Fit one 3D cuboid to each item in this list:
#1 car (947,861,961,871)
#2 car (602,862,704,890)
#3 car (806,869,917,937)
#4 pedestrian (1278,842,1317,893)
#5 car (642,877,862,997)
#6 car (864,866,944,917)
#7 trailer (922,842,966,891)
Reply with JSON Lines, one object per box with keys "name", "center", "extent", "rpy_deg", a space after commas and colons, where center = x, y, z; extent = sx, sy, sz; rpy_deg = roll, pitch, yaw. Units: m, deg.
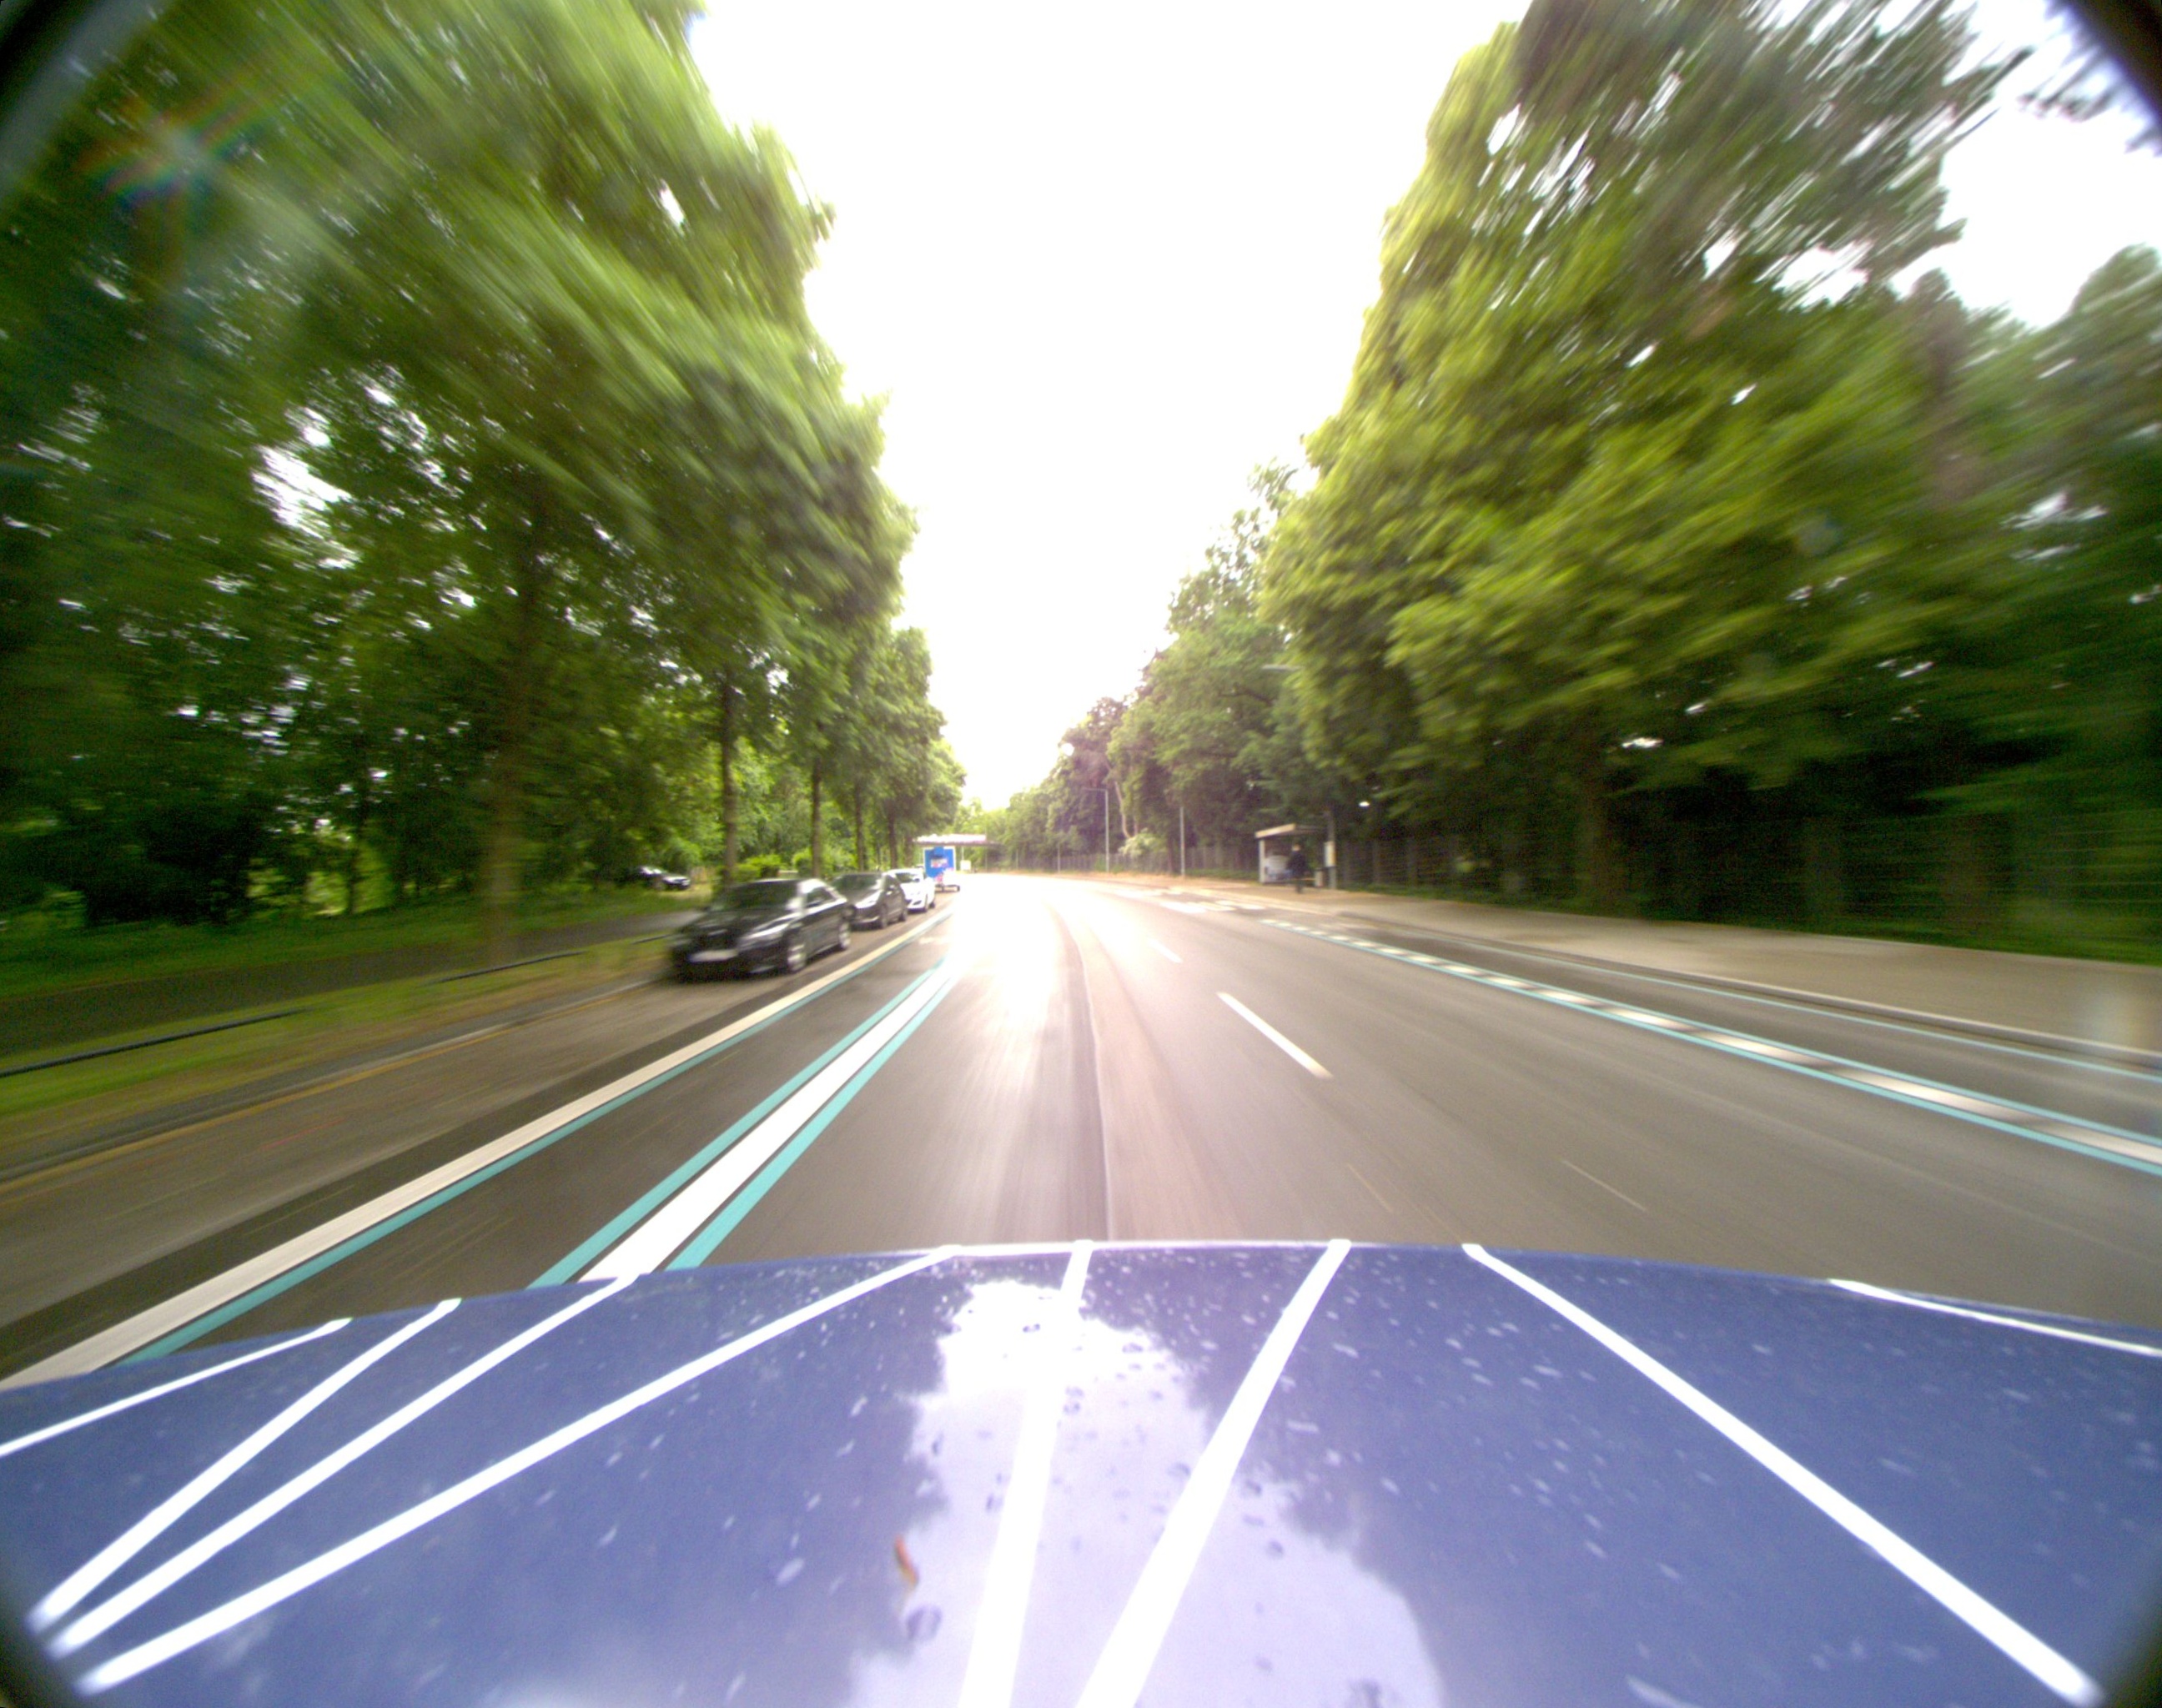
{"name": "car", "center": [-25.684, 2.467, 153.383], "extent": [1.986, 1.902, 5.221], "rpy_deg": [-1, -2, -17]}
{"name": "car", "center": [-21.673, 1.113, 38.569], "extent": [4.146, 1.314, 1.891], "rpy_deg": [0, 0, 3]}
{"name": "car", "center": [-5.650, 1.209, 20.107], "extent": [1.688, 1.419, 4.317], "rpy_deg": [-3, 0, -1]}
{"name": "pedestrian", "center": [7.715, 0.475, 27.154], "extent": [0.890, 1.723, 1.145], "rpy_deg": [-2, 0, -8]}
{"name": "car", "center": [-5.205, 1.207, 12.859], "extent": [1.786, 1.399, 4.844], "rpy_deg": [-3, 0, -3]}
{"name": "car", "center": [-5.971, 1.206, 26.145], "extent": [1.865, 1.419, 4.647], "rpy_deg": [-3, 0, -4]}
{"name": "trailer", "center": [-8.129, 0.696, 45.438], "extent": [2.324, 2.656, 5.372], "rpy_deg": [-2, 0, -9]}
